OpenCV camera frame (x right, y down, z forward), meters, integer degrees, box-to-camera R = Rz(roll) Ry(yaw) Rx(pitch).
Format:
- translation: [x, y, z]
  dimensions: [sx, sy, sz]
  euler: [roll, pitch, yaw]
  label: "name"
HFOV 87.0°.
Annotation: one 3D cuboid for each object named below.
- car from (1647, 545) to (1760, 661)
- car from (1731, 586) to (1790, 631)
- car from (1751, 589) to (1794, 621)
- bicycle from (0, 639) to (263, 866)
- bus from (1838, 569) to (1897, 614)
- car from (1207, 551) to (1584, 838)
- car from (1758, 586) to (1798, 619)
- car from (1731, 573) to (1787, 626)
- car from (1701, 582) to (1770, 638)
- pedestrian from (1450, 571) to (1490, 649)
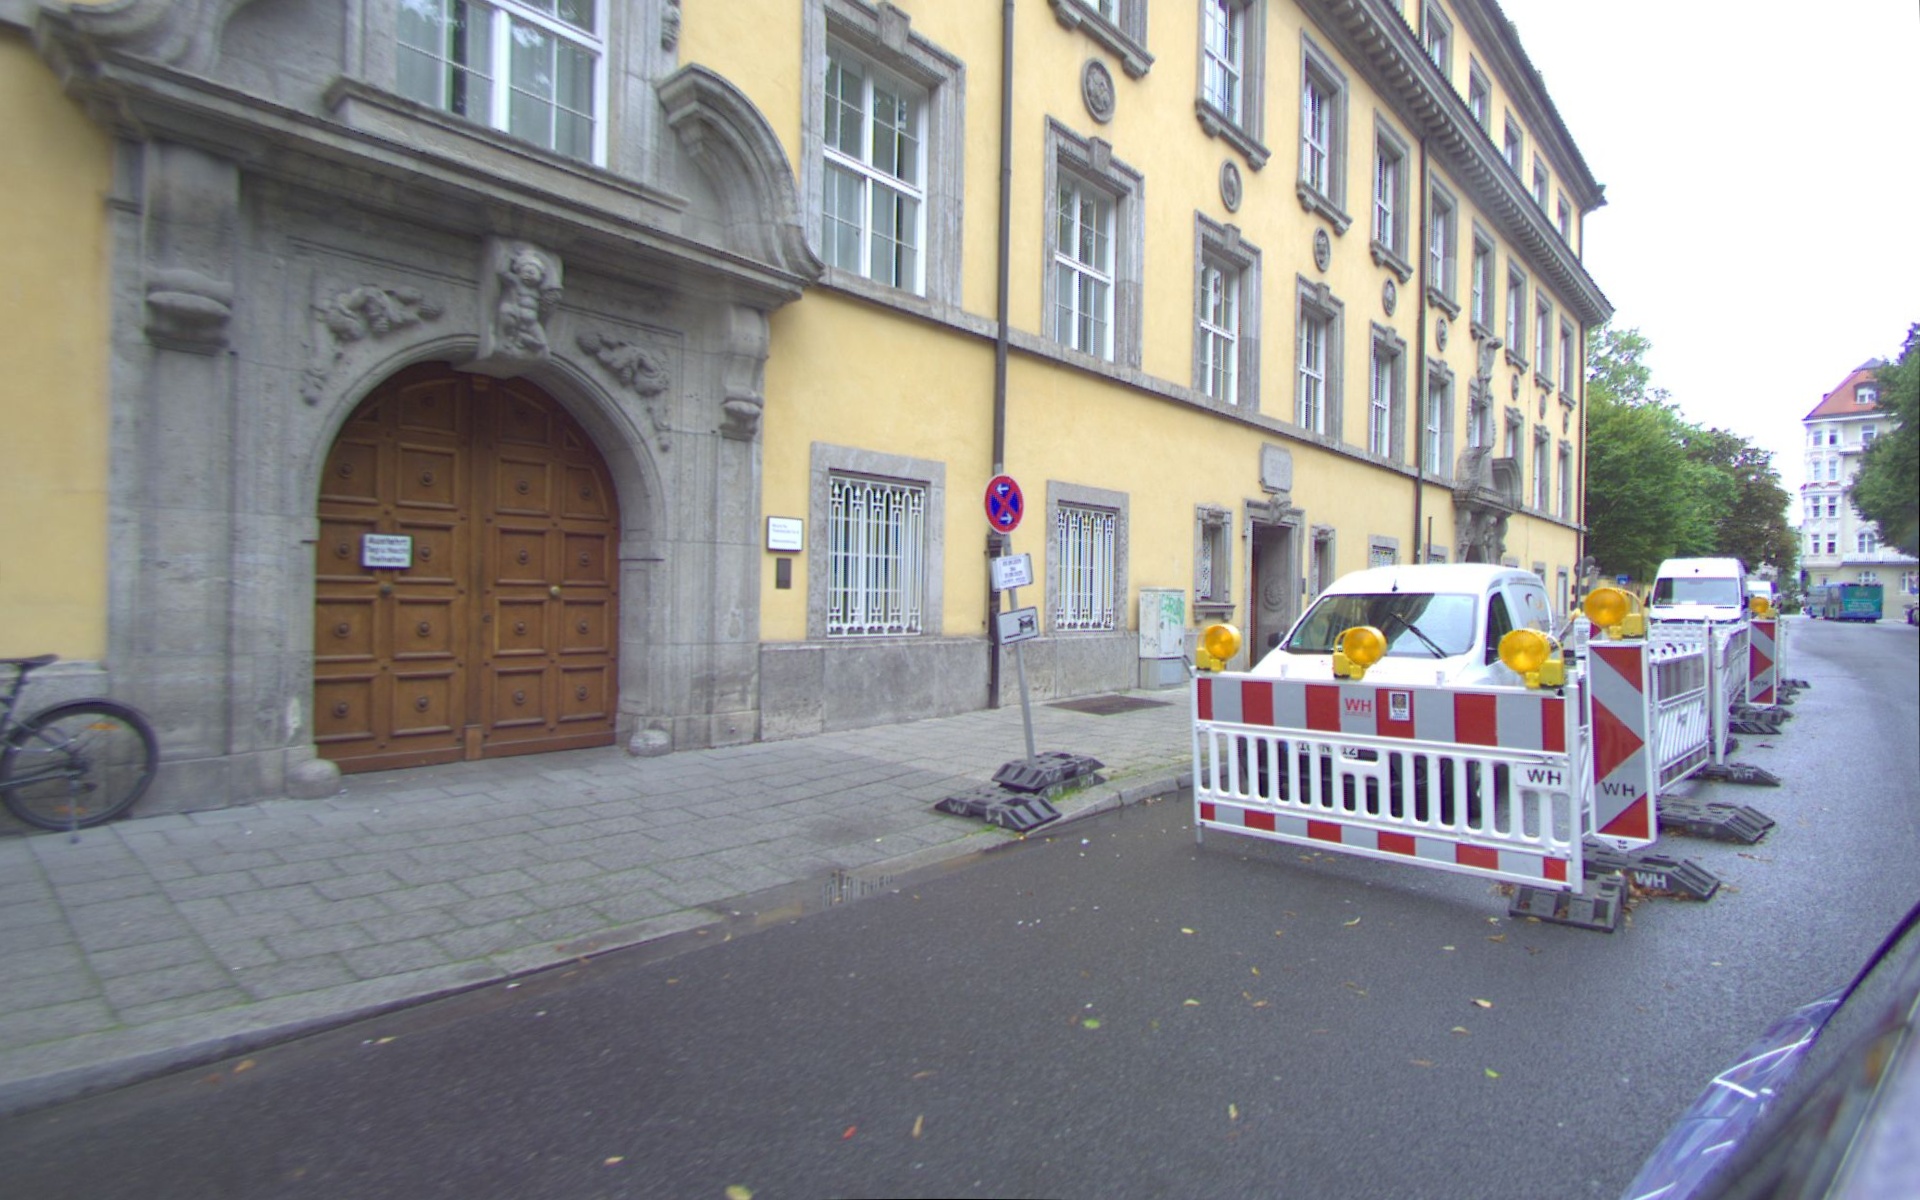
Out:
- translation: [20.003, -0.006, 27.054]
  dimensions: [2.051, 2.706, 7.507]
  euler: [1, 2, 39]
  label: "car"
- translation: [36.276, 0.352, 45.967]
  dimensions: [2.009, 1.931, 5.094]
  euler: [0, 0, 37]
  label: "car"
- translation: [47.652, 0.269, 59.343]
  dimensions: [1.856, 1.763, 4.536]
  euler: [0, 0, 40]
  label: "car"
- translation: [-4.840, 0.768, 5.158]
  dimensions: [0.679, 1.019, 2.026]
  euler: [1, 2, 41]
  label: "bicycle"
- translation: [73.495, -0.849, 82.221]
  dimensions: [2.856, 3.279, 18.162]
  euler: [1, 2, 40]
  label: "bus"
- translation: [3.840, 0.517, 8.462]
  dimensions: [1.737, 1.771, 4.293]
  euler: [1, 2, 40]
  label: "car"
- translation: [51.443, 0.120, 63.629]
  dimensions: [1.856, 1.992, 5.367]
  euler: [1, 1, 39]
  label: "car"
- translation: [40.814, -0.079, 51.634]
  dimensions: [2.092, 2.518, 5.659]
  euler: [1, 2, 39]
  label: "car"
- translation: [28.779, 0.305, 37.491]
  dimensions: [1.868, 1.892, 4.916]
  euler: [1, 2, 39]
  label: "car"
- translation: [12.374, 0.229, 24.559]
  dimensions: [0.700, 1.826, 0.574]
  euler: [3, 3, 41]
  label: "pedestrian"
